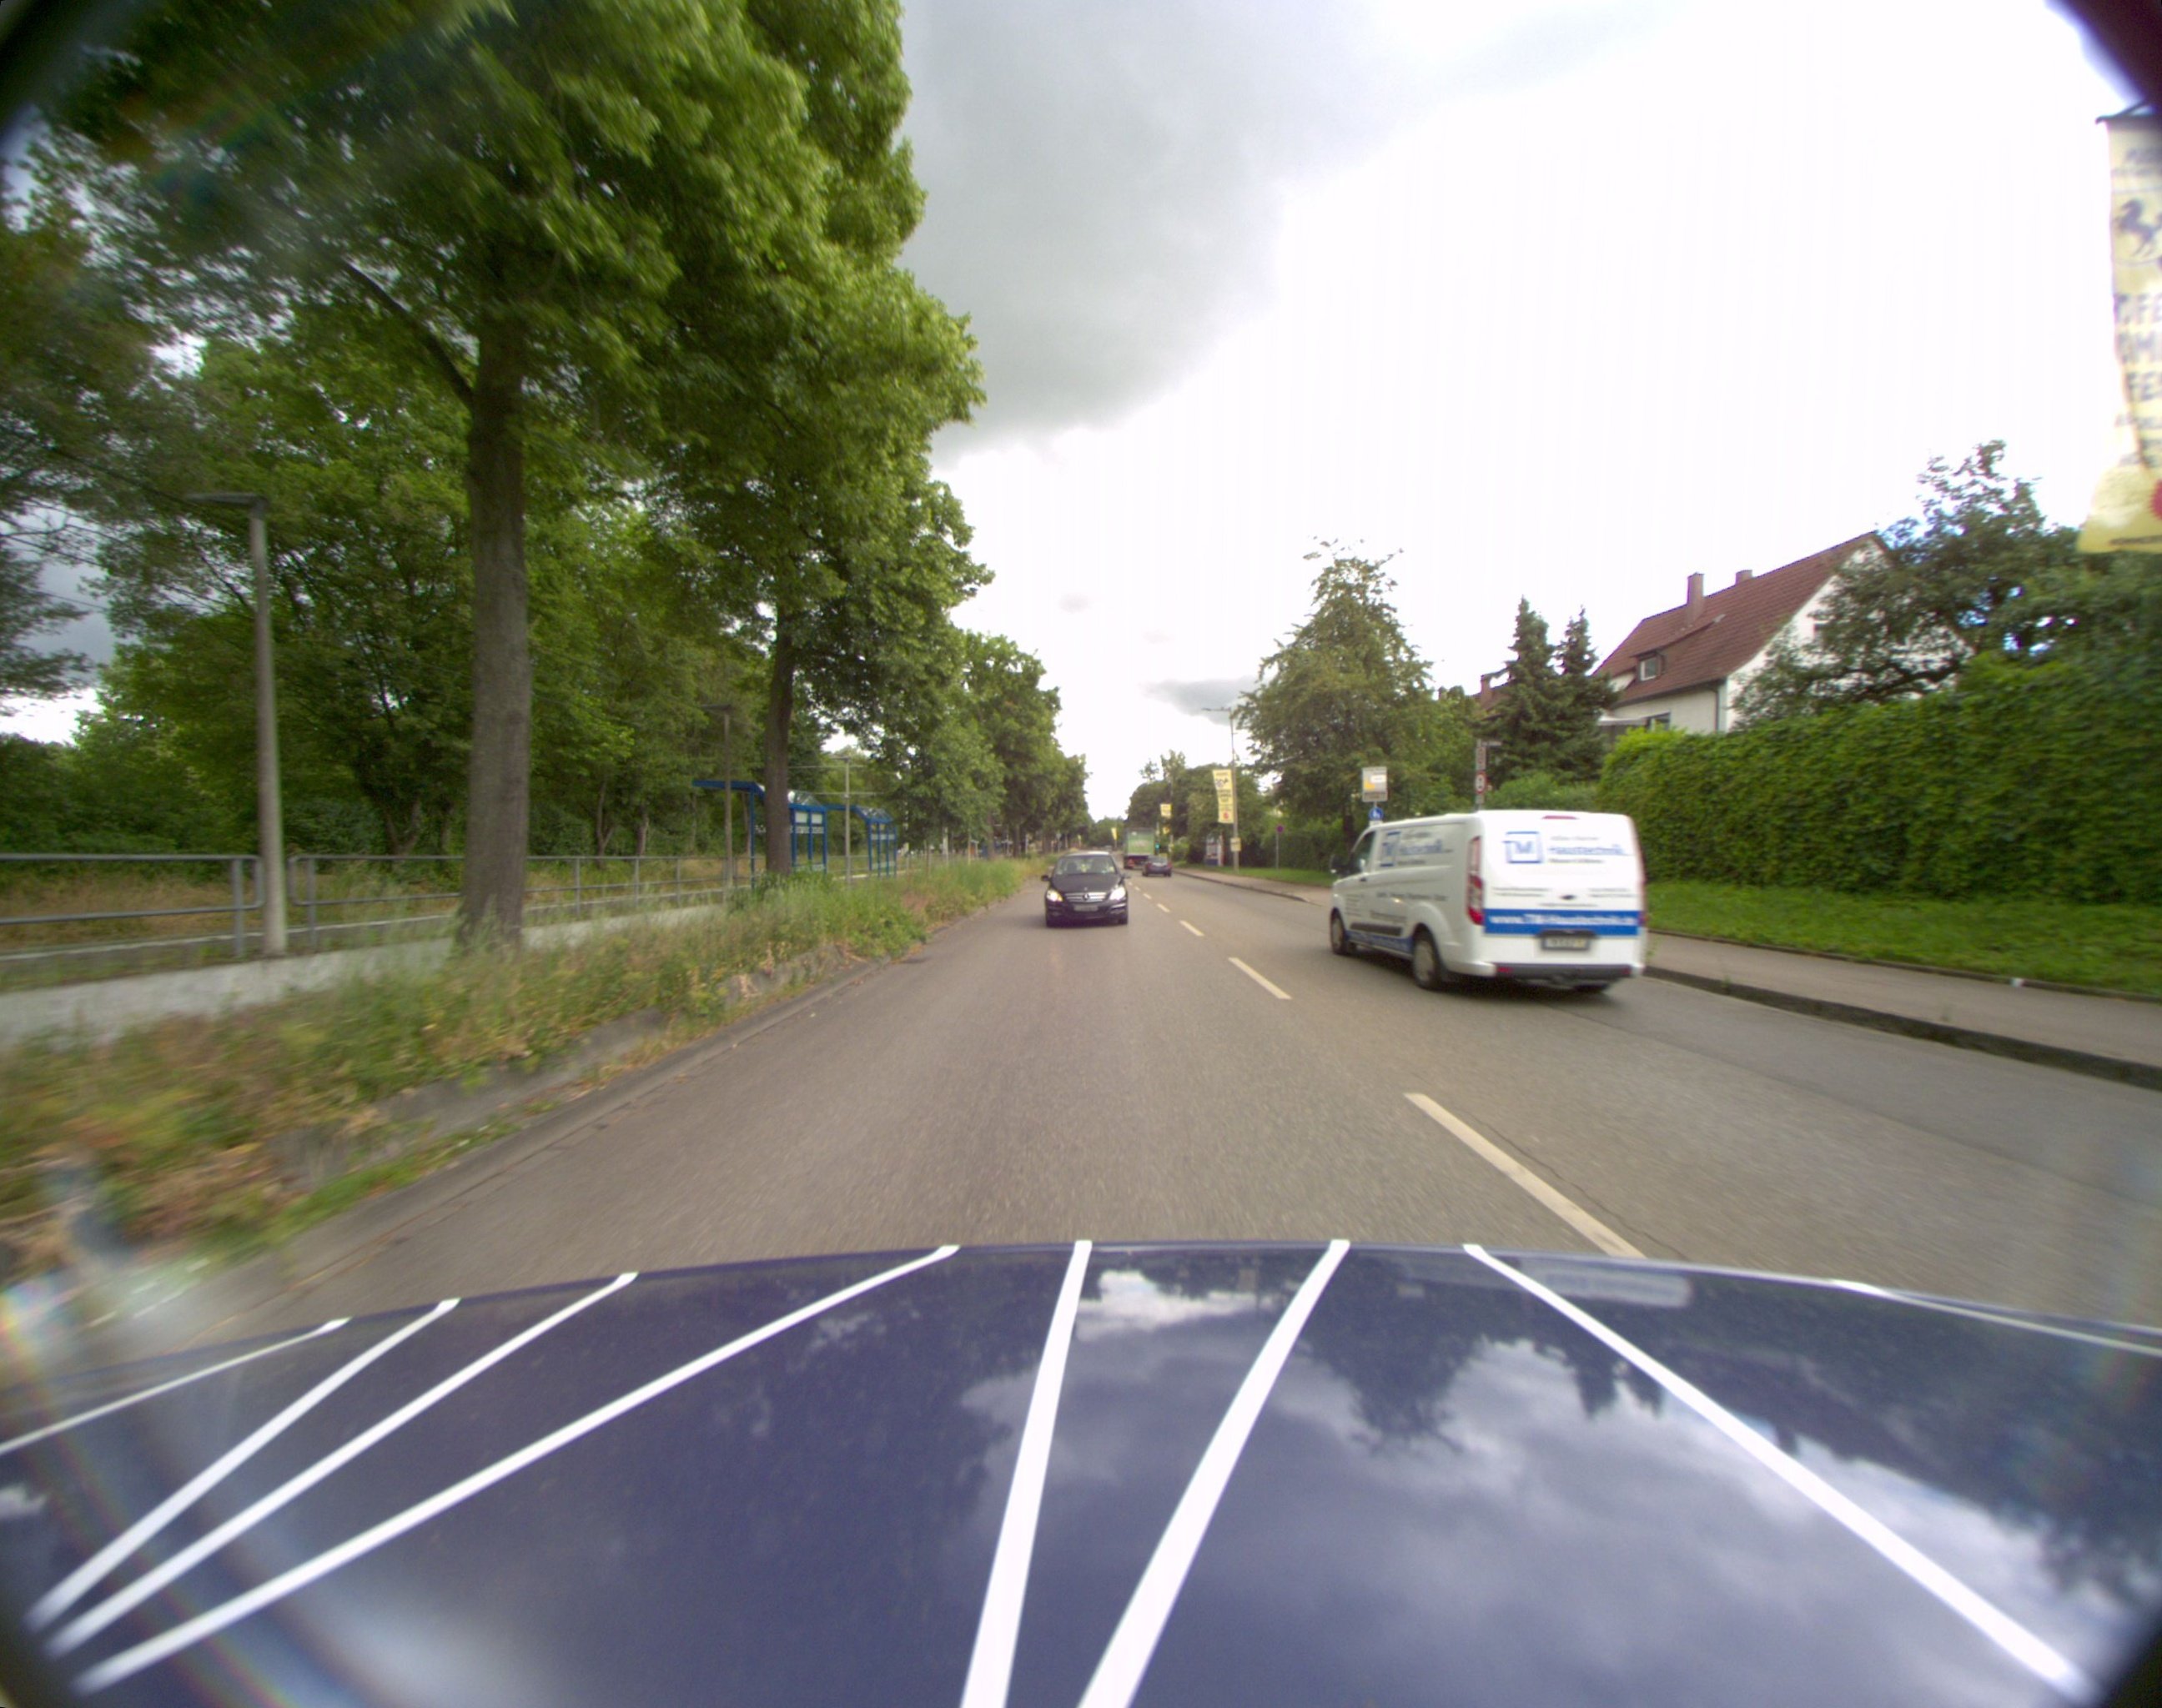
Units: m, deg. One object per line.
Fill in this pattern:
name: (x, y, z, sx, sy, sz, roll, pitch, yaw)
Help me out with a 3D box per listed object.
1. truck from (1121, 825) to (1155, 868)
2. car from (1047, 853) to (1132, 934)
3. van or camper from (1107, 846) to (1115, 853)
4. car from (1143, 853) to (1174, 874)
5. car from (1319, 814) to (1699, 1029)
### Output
truck: (5.751, -0.811, 78.118, 2.556, 4.020, 10.618, 1, 1, 0)
car: (0.193, 0.797, 17.721, 1.683, 1.565, 4.482, -2, 1, 0)
van or camper: (8.408, -1.330, 213.280, 1.917, 1.888, 4.811, -1, 0, 1)
car: (5.310, 0.644, 52.477, 1.737, 1.367, 4.239, 1, 0, 0)
car: (4.678, 0.580, 9.409, 1.911, 1.921, 4.910, 2, 1, 1)
